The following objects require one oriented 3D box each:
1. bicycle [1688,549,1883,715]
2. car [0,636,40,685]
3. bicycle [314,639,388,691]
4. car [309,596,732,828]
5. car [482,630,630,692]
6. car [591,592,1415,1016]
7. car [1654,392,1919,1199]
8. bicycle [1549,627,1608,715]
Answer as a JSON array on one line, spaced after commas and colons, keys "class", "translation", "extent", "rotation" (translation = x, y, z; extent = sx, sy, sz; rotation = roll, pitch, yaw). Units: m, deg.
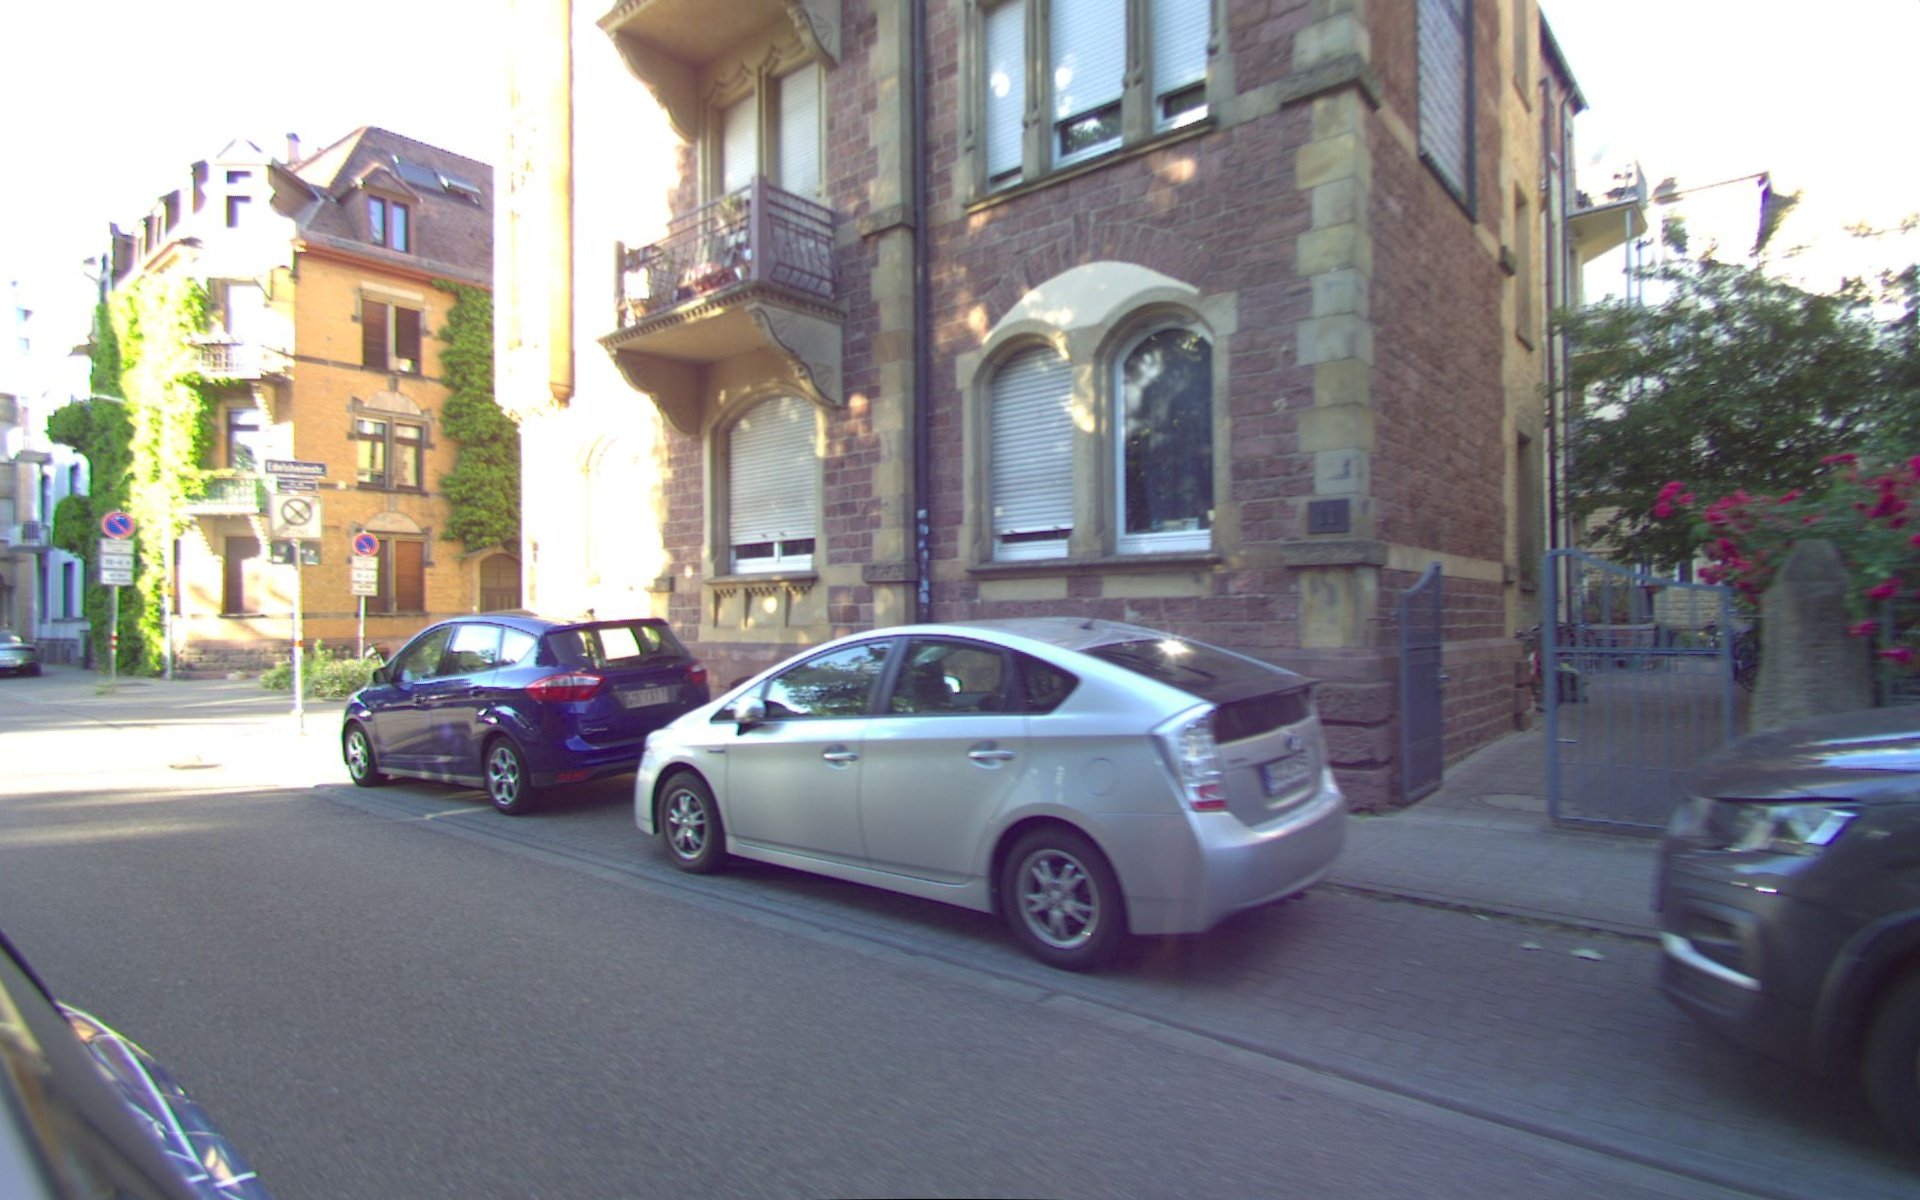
[{"class": "bicycle", "translation": [10.838, 0.410, 13.297], "extent": [2.158, 2.029, 1.019], "rotation": [0, -2, -22]}, {"class": "car", "translation": [-30.816, 1.903, 32.022], "extent": [4.921, 1.415, 1.858], "rotation": [-2, 0, 40]}, {"class": "bicycle", "translation": [-15.802, 1.665, 26.268], "extent": [1.578, 1.278, 0.565], "rotation": [0, -2, -41]}, {"class": "car", "translation": [-4.138, 0.856, 9.224], "extent": [4.253, 1.634, 1.713], "rotation": [-2, -1, 38]}, {"class": "car", "translation": [-10.908, 1.570, 27.196], "extent": [4.255, 1.446, 1.973], "rotation": [0, -1, 41]}, {"class": "car", "translation": [-0.047, 0.785, 5.687], "extent": [4.449, 1.510, 1.713], "rotation": [-2, -1, 38]}, {"class": "car", "translation": [4.260, 0.441, 2.116], "extent": [4.491, 1.989, 1.950], "rotation": [-2, -1, 38]}, {"class": "bicycle", "translation": [8.478, 0.924, 13.856], "extent": [0.608, 1.087, 2.333], "rotation": [-2, -2, 32]}]
